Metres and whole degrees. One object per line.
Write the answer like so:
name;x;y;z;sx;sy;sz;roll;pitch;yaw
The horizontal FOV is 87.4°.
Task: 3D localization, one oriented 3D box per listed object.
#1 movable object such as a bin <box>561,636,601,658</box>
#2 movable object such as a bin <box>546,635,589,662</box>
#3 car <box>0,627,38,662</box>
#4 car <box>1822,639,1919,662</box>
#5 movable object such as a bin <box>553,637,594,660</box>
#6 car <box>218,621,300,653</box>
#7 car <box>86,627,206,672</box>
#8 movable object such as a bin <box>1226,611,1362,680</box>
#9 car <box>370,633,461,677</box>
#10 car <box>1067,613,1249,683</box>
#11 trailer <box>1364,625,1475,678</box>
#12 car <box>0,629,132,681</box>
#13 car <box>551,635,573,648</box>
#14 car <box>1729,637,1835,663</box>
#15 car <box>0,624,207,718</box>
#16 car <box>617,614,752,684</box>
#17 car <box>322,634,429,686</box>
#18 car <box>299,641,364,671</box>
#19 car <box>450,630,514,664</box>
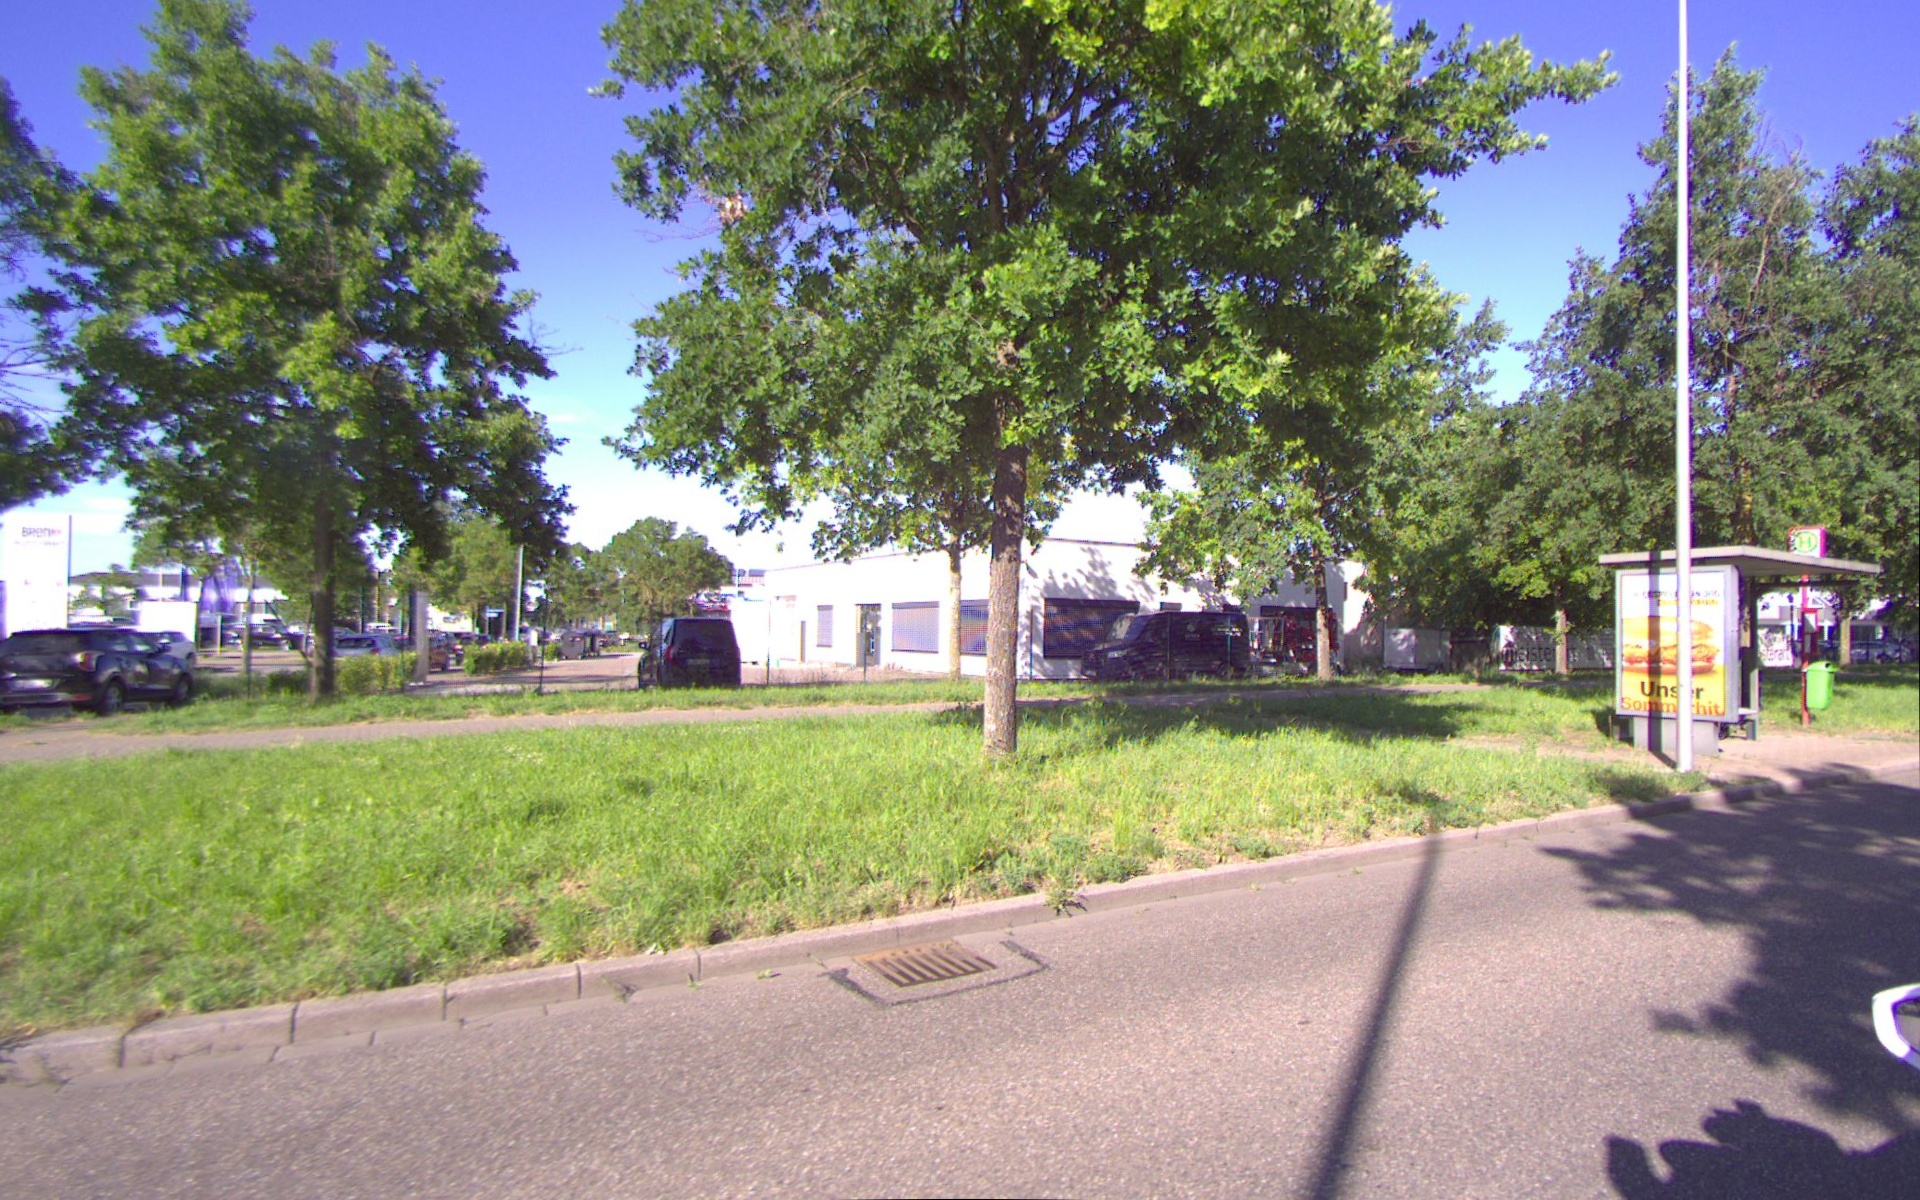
movable object such as a bin;-19.960;2.477;52.974;1.617;1.159;1.688;1;-2;-9
movable object such as a bin;-19.421;2.387;49.714;1.616;1.288;1.676;1;-1;-8
car;-46.800;2.067;47.075;4.794;1.582;1.993;1;-2;-18
car;55.152;3.016;60.824;1.920;1.305;4.175;1;-2;-32
movable object such as a bin;-19.719;2.472;51.331;1.616;1.159;1.491;1;-1;-8
car;-46.062;2.426;66.090;3.932;2.040;1.995;1;-1;-14
car;-30.277;1.794;37.514;1.769;1.531;3.992;0;-1;-10
movable object such as a bin;11.495;1.531;34.540;4.407;2.246;2.093;1;-2;-30
car;-20.828;2.061;38.578;1.768;1.531;3.994;0;-1;-8
car;6.240;1.475;31.360;5.740;2.014;2.025;2;-2;-31
trailer;17.538;1.929;38.335;3.696;1.940;2.093;1;-2;-30
car;-29.218;1.726;32.622;1.768;1.531;3.994;0;-1;-8
car;-51.099;5.291;129.029;1.769;1.531;3.992;0;-1;-10
car;45.701;2.758;55.922;1.920;1.305;4.175;1;-2;-32
car;-15.878;1.242;18.565;1.791;1.553;3.672;1;-2;-14
car;-6.657;1.122;23.927;1.920;1.499;4.477;2;-2;-32
car;-19.851;1.994;34.289;1.768;1.597;3.994;0;-1;-8
car;-35.267;3.129;56.470;1.769;1.531;3.992;0;-1;-10
car;-23.511;2.293;49.546;1.768;1.531;3.994;0;-1;-8
